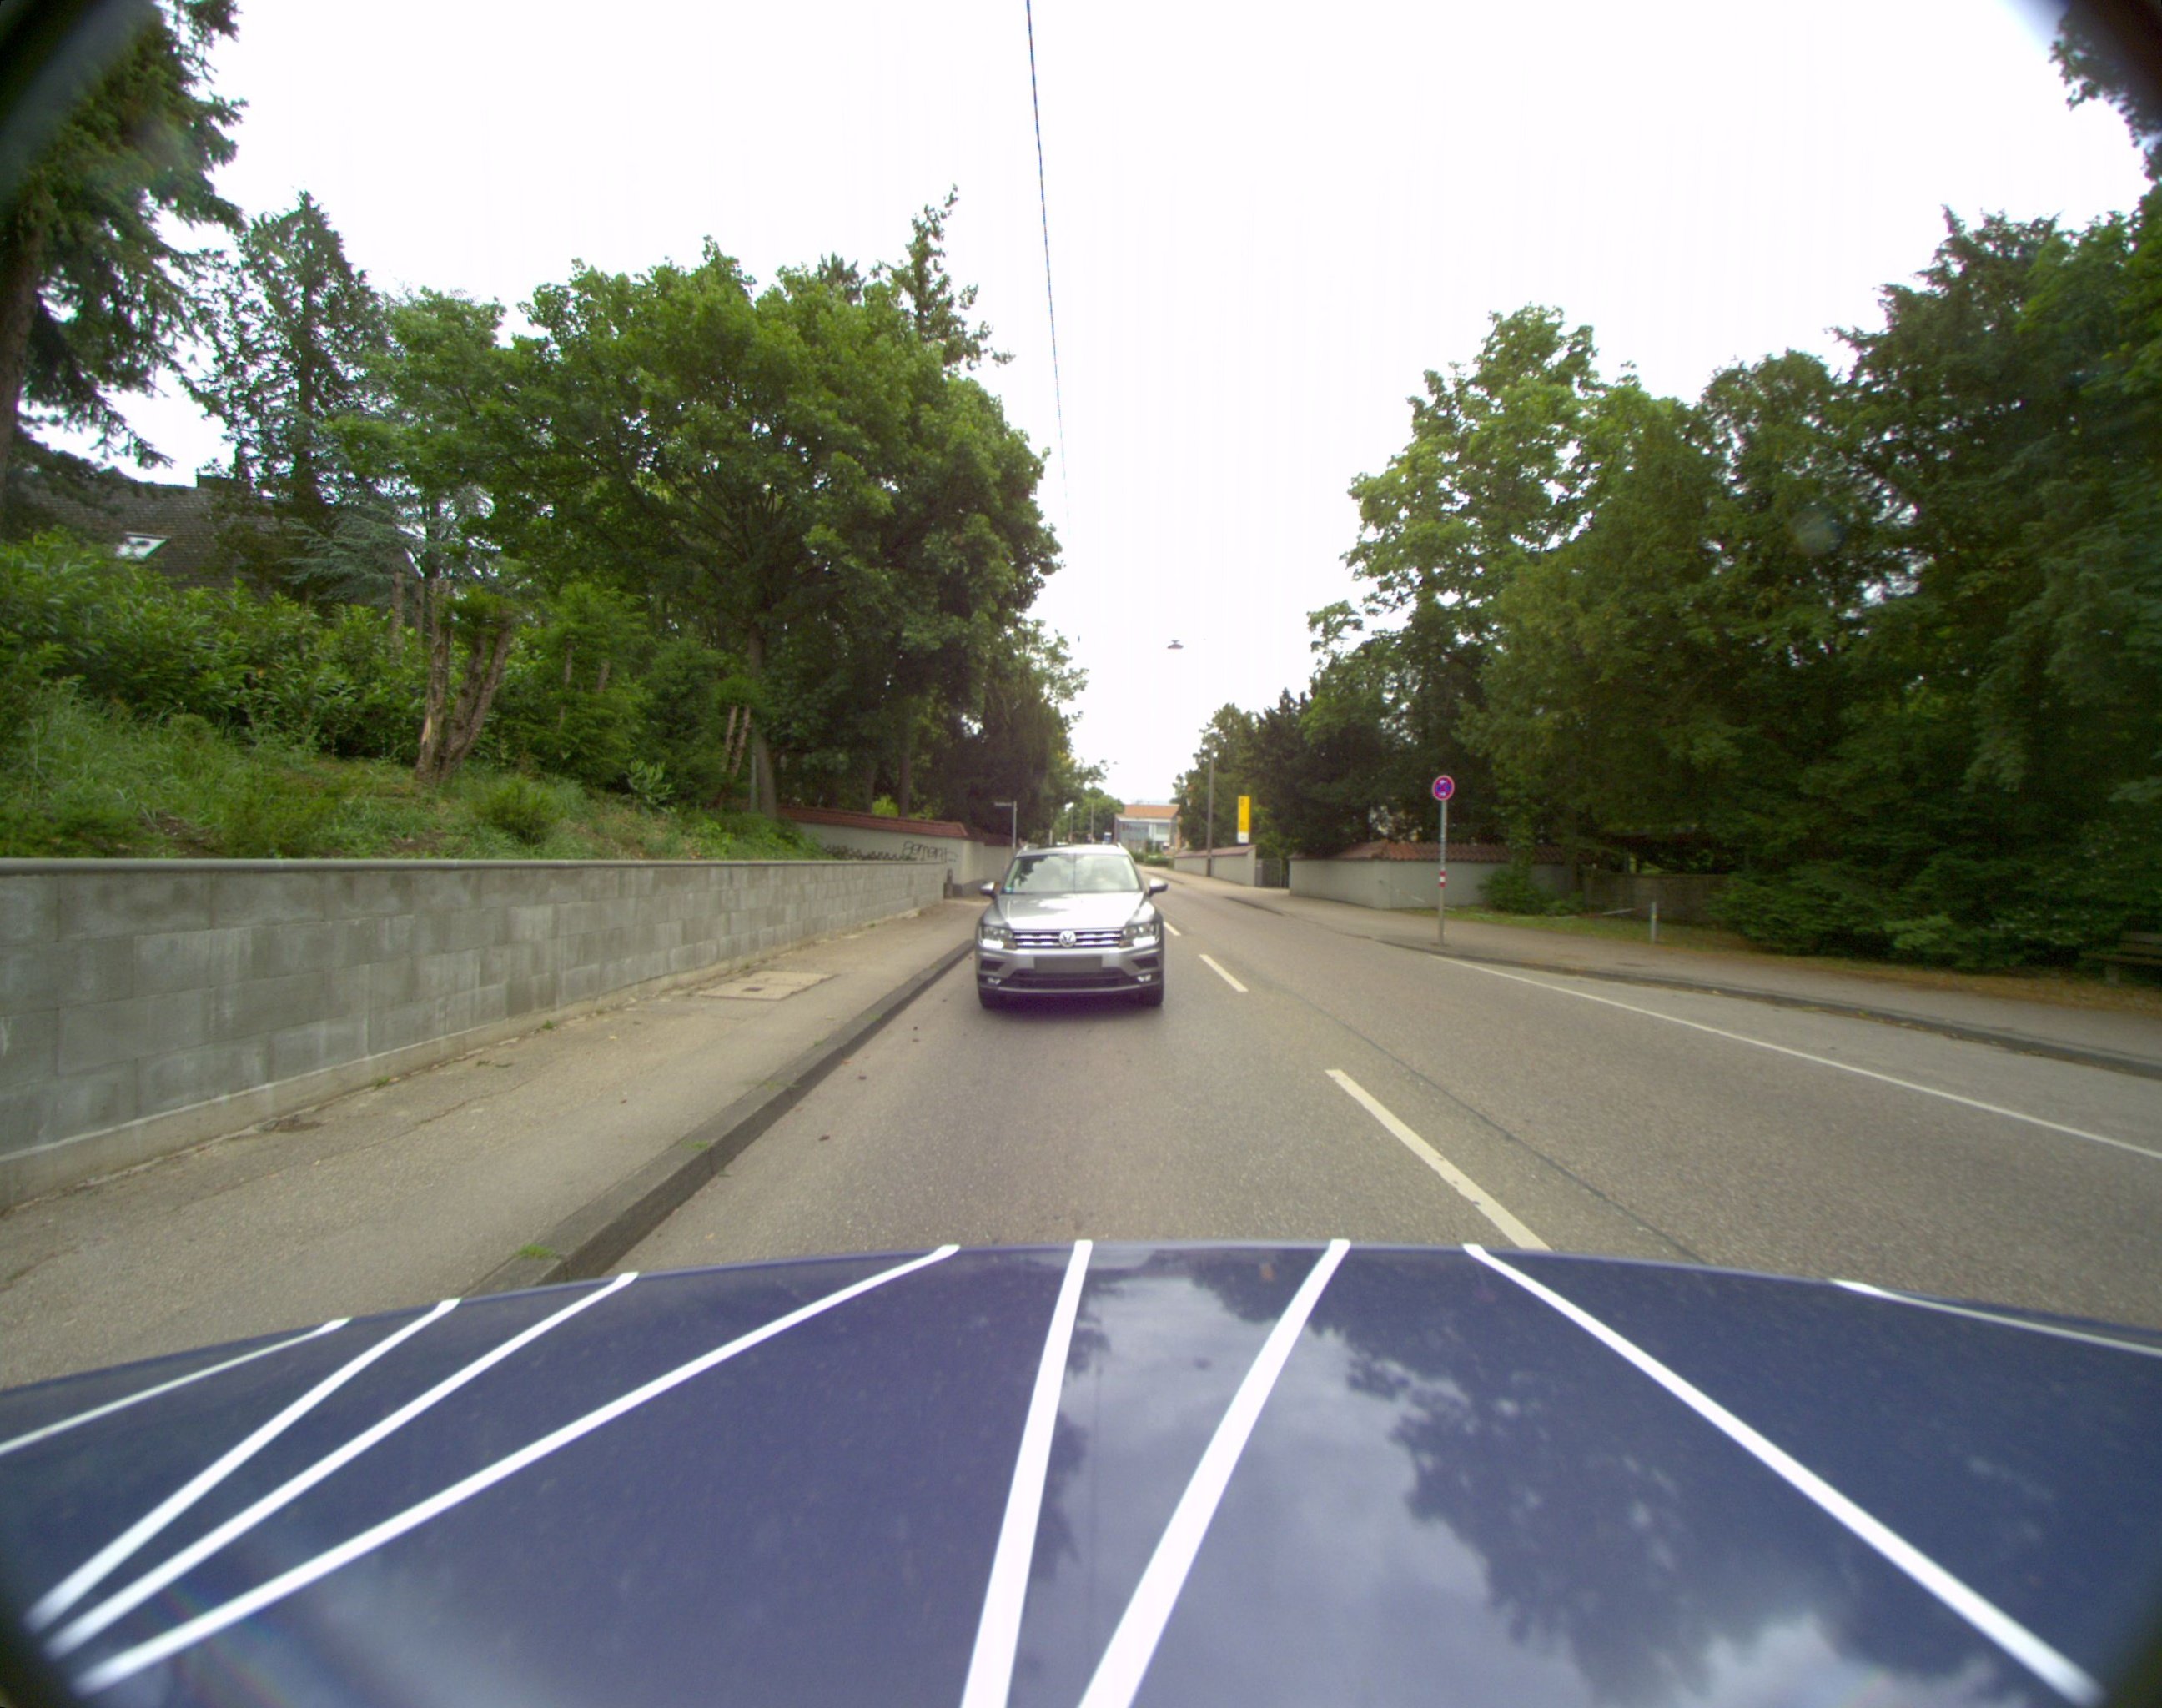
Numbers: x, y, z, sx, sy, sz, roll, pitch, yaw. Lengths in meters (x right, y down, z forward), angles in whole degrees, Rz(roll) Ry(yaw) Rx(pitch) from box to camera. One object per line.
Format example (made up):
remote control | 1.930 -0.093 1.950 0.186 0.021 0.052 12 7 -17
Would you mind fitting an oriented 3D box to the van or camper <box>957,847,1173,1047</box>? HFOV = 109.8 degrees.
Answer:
van or camper | -0.108 0.764 8.442 1.800 1.663 4.198 0 0 1
